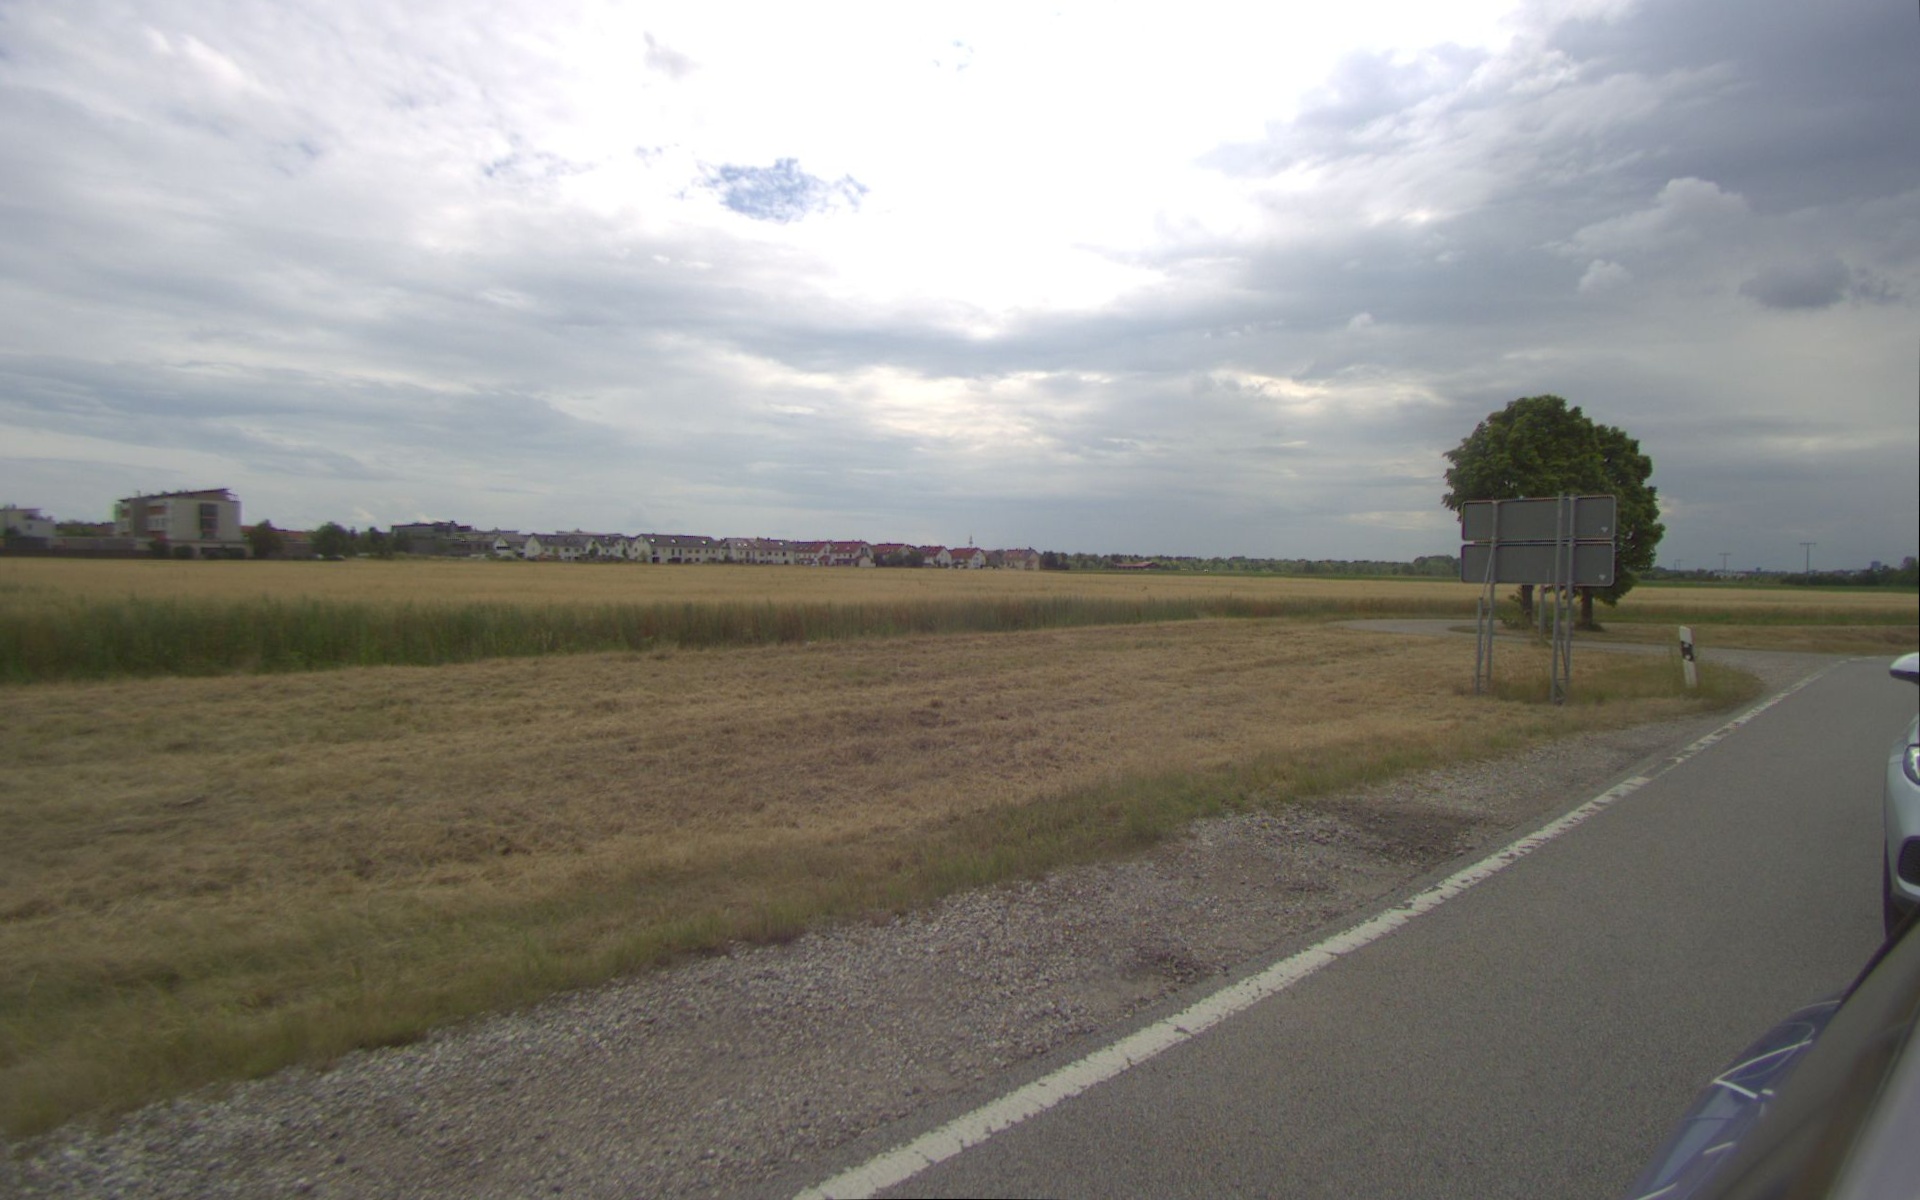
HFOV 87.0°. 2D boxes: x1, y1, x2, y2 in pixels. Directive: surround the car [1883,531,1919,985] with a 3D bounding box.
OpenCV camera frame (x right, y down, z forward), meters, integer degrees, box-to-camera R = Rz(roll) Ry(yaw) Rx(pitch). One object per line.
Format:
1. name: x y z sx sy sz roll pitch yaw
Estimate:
1. car: 5.544 0.575 4.485 4.376 1.606 1.834 -1 3 -44
